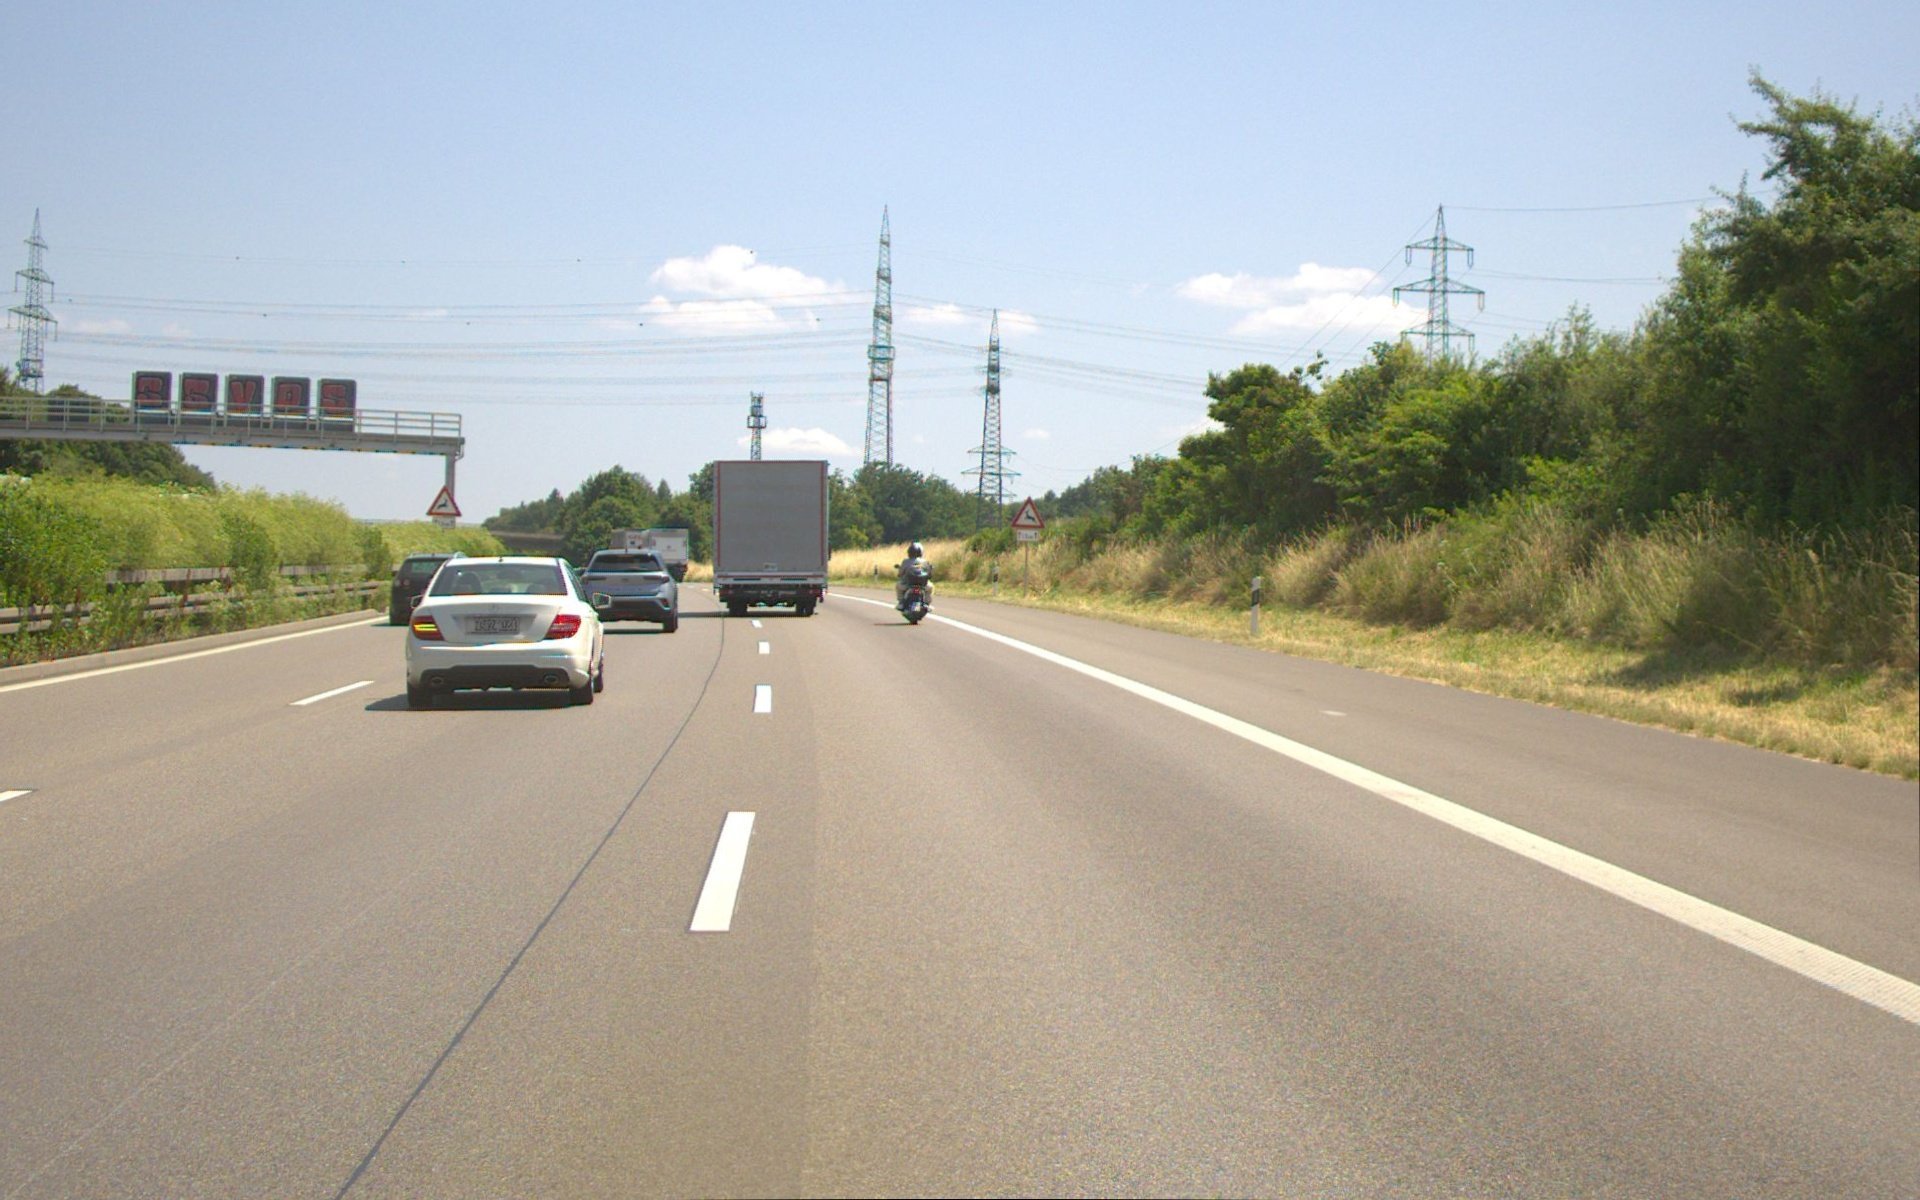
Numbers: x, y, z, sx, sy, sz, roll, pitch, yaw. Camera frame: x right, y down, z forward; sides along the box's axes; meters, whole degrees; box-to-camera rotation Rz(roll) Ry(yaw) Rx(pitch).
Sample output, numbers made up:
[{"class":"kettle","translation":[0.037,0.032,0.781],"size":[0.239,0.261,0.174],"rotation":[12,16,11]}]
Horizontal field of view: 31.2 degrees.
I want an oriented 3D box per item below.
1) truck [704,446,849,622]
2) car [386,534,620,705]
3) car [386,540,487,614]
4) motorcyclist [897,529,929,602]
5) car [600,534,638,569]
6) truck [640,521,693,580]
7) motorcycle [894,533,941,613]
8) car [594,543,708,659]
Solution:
[{"class":"truck","translation":[-4.370,-1.525,80.853],"size":[3.221,3.911,9.062],"rotation":[0,1,-4]},{"class":"car","translation":[-4.383,0.139,33.485],"size":[1.819,1.535,3.915],"rotation":[0,1,-1]},{"class":"car","translation":[-10.690,-0.494,70.384],"size":[1.756,1.424,4.001],"rotation":[-1,1,-5]},{"class":"motorcyclist","translation":[-0.955,-0.707,69.620],"size":[0.572,1.474,0.700],"rotation":[-1,1,-6]},{"class":"car","translation":[-19.009,-2.725,191.817],"size":[1.901,1.919,4.001],"rotation":[0,1,-3]},{"class":"truck","translation":[-19.913,-3.362,233.841],"size":[3.483,3.899,7.291],"rotation":[0,1,-4]},{"class":"motorcycle","translation":[-0.858,-0.550,69.600],"size":[0.809,1.602,1.782],"rotation":[0,1,-5]},{"class":"car","translation":[-5.637,-0.013,62.965],"size":[1.993,2.007,4.001],"rotation":[-1,1,-4]}]
